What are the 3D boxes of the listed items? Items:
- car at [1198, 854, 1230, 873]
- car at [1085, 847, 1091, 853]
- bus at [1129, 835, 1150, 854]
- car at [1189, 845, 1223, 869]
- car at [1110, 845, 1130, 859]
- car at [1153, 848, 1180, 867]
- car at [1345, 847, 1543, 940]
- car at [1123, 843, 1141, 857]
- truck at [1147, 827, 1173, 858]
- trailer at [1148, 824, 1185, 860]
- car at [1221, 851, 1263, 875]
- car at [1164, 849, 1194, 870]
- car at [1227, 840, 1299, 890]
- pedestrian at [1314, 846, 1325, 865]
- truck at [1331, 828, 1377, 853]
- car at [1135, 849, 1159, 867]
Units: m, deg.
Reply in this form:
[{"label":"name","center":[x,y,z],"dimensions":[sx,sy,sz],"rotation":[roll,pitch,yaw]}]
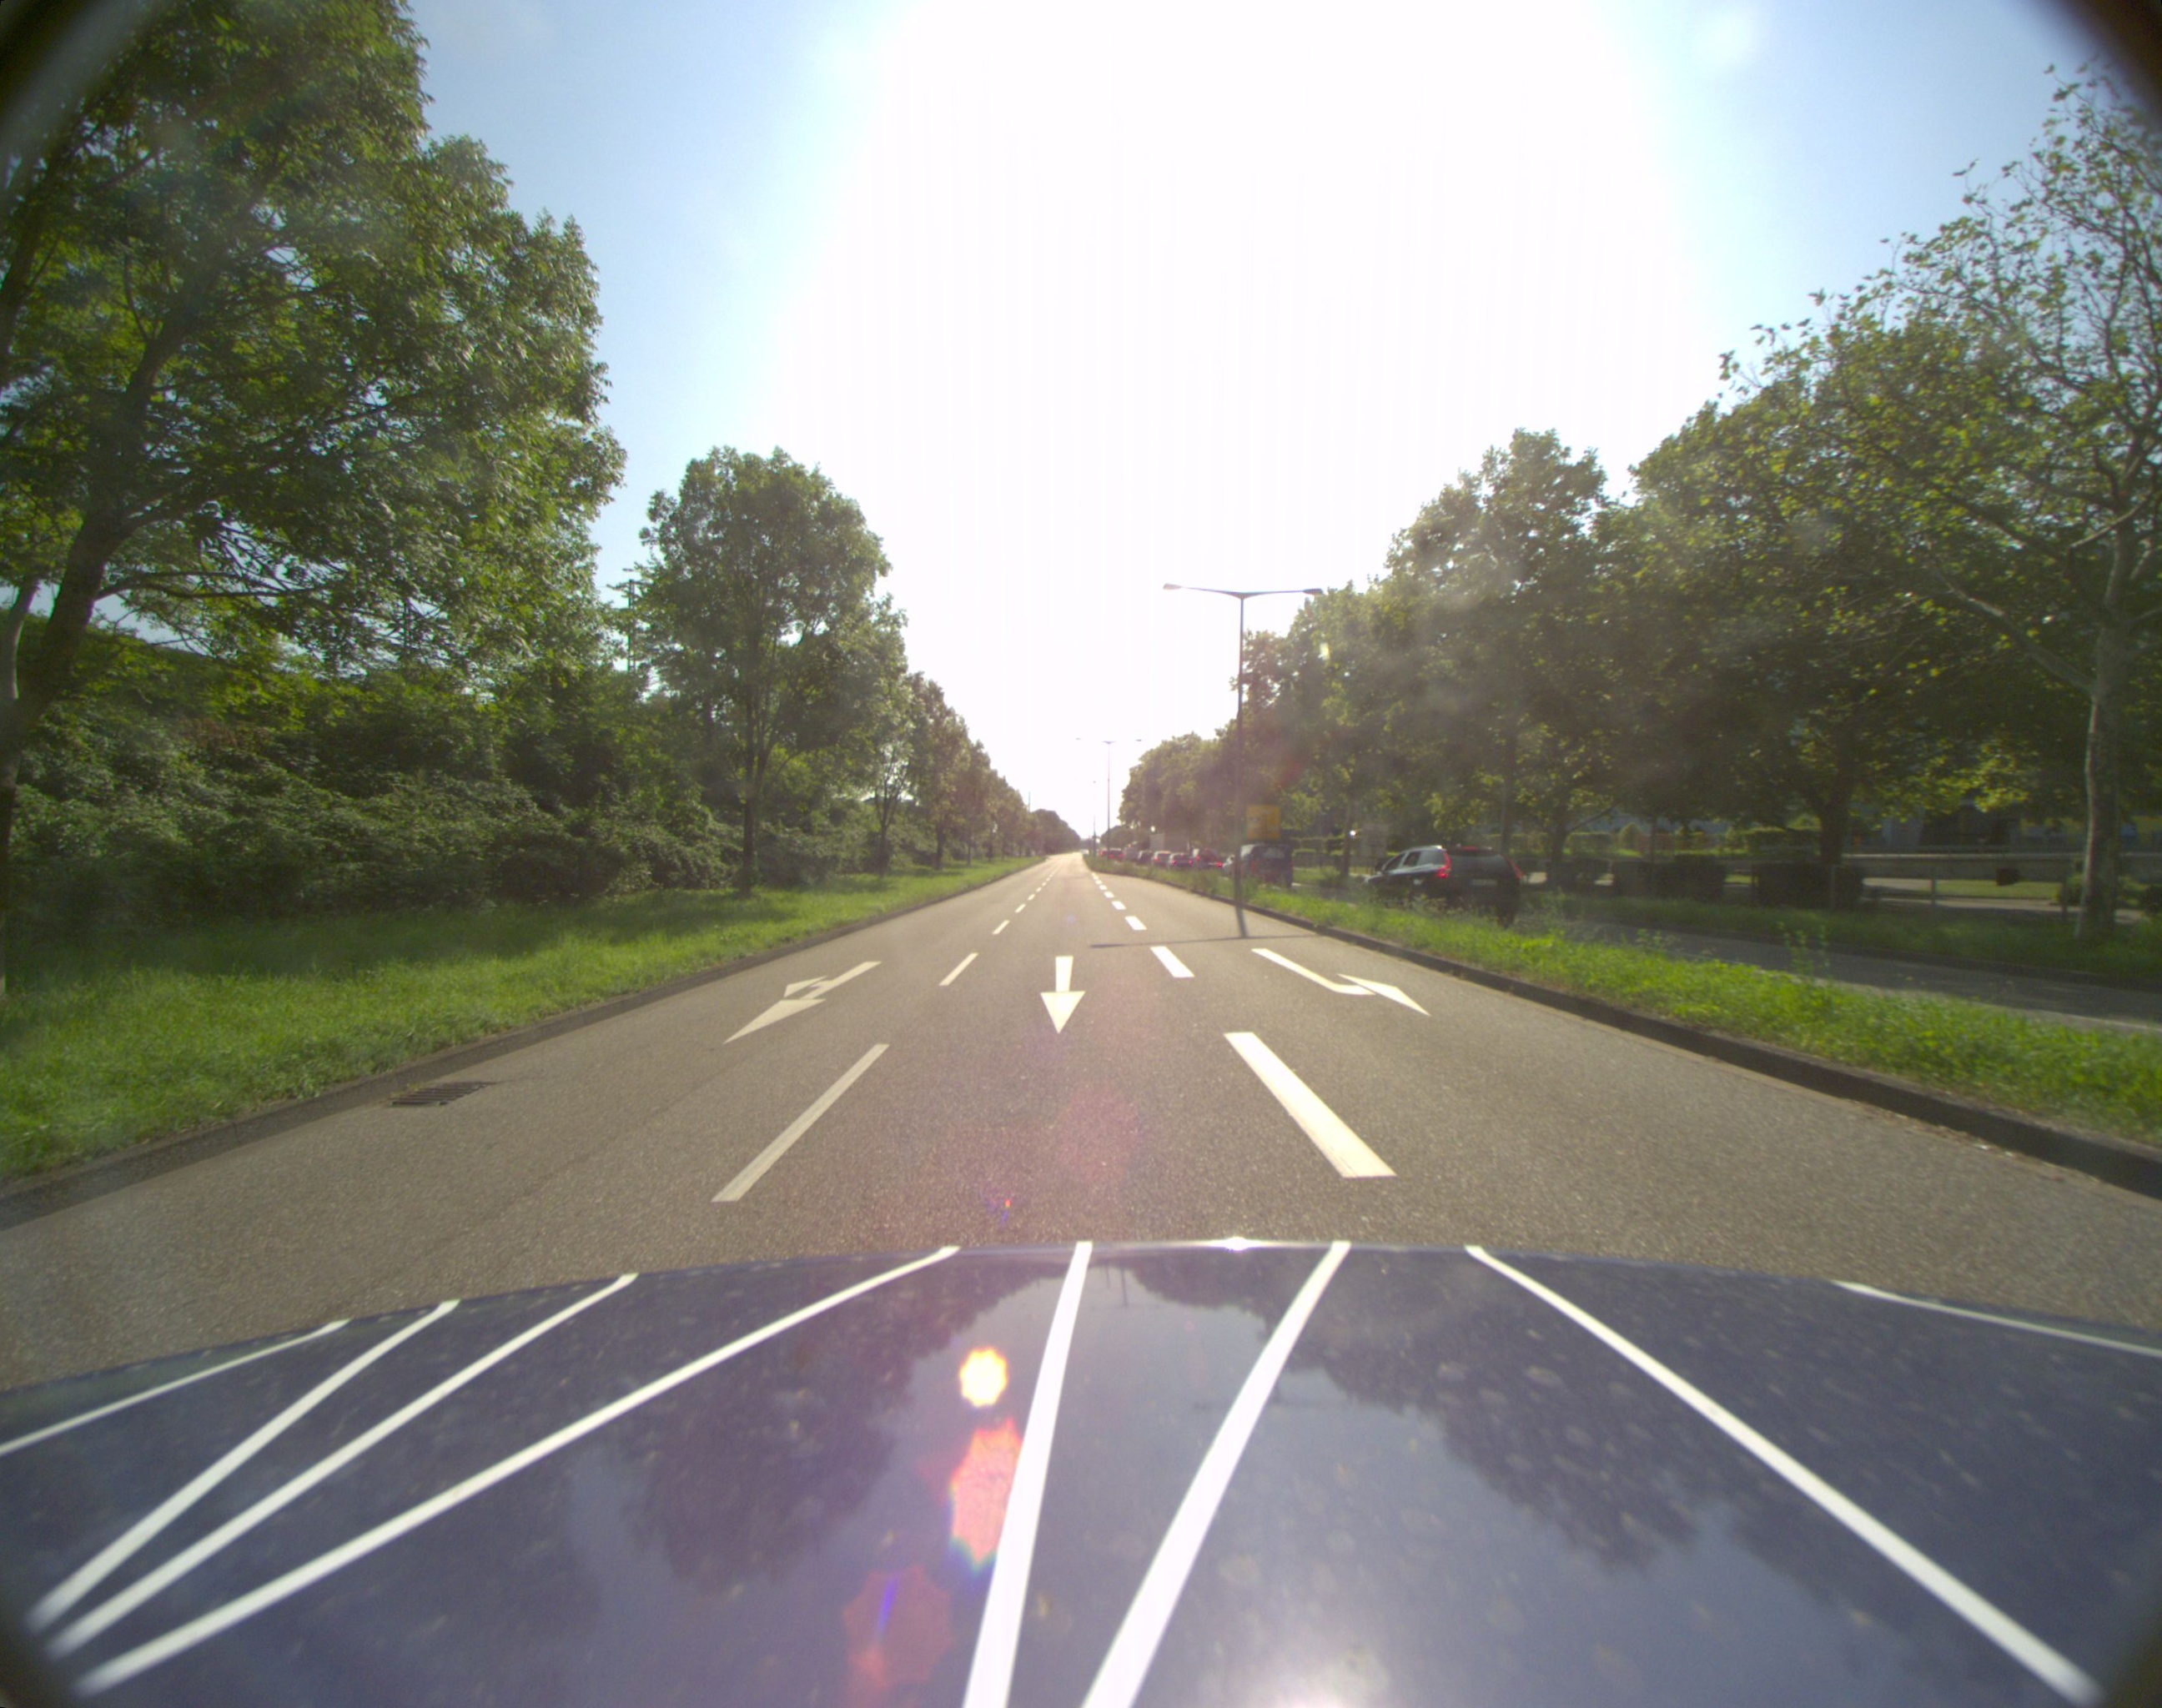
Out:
[{"label":"car","center":[9.836,0.673,56.417],"dimensions":[1.795,1.255,4.095],"rotation":[1,1,1]},{"label":"car","center":[1.992,-1.017,205.981],"dimensions":[1.544,1.433,3.396],"rotation":[0,-1,3]},{"label":"bus","center":[9.787,-1.548,127.593],"dimensions":[2.597,3.062,12.310],"rotation":[-1,1,0]},{"label":"car","center":[10.334,0.223,63.169],"dimensions":[1.989,1.848,4.968],"rotation":[1,1,0]},{"label":"car","center":[4.817,-0.260,94.486],"dimensions":[1.999,1.749,4.475],"rotation":[1,1,-3]},{"label":"car","center":[7.597,0.297,67.799],"dimensions":[1.884,1.584,4.107],"rotation":[0,1,-1]},{"label":"car","center":[7.570,0.718,16.435],"dimensions":[1.999,1.696,4.503],"rotation":[-1,1,-2]},{"label":"car","center":[6.983,-0.571,104.365],"dimensions":[1.999,1.942,5.035],"rotation":[0,1,-1]},{"label":"truck","center":[9.883,-1.411,95.770],"dimensions":[2.614,3.798,5.890],"rotation":[1,1,-1]},{"label":"trailer","center":[9.933,-1.355,89.541],"dimensions":[2.640,3.799,13.809],"rotation":[1,1,-1]},{"label":"car","center":[10.421,0.576,49.541],"dimensions":[1.795,1.473,3.999],"rotation":[0,1,-2]},{"label":"car","center":[7.168,0.400,55.821],"dimensions":[1.681,1.477,3.491],"rotation":[-1,1,-1]},{"label":"car","center":[7.776,0.439,32.938],"dimensions":[1.937,2.016,4.565],"rotation":[0,0,-1]},{"label":"pedestrian","center":[20.382,0.144,65.055],"dimensions":[0.618,1.643,0.933],"rotation":[-1,1,-1]},{"label":"truck","center":[32.106,-1.616,89.272],"dimensions":[5.916,2.844,2.233],"rotation":[-1,1,-38]},{"label":"car","center":[6.837,0.360,79.174],"dimensions":[1.999,1.749,4.306],"rotation":[1,1,-1]}]
